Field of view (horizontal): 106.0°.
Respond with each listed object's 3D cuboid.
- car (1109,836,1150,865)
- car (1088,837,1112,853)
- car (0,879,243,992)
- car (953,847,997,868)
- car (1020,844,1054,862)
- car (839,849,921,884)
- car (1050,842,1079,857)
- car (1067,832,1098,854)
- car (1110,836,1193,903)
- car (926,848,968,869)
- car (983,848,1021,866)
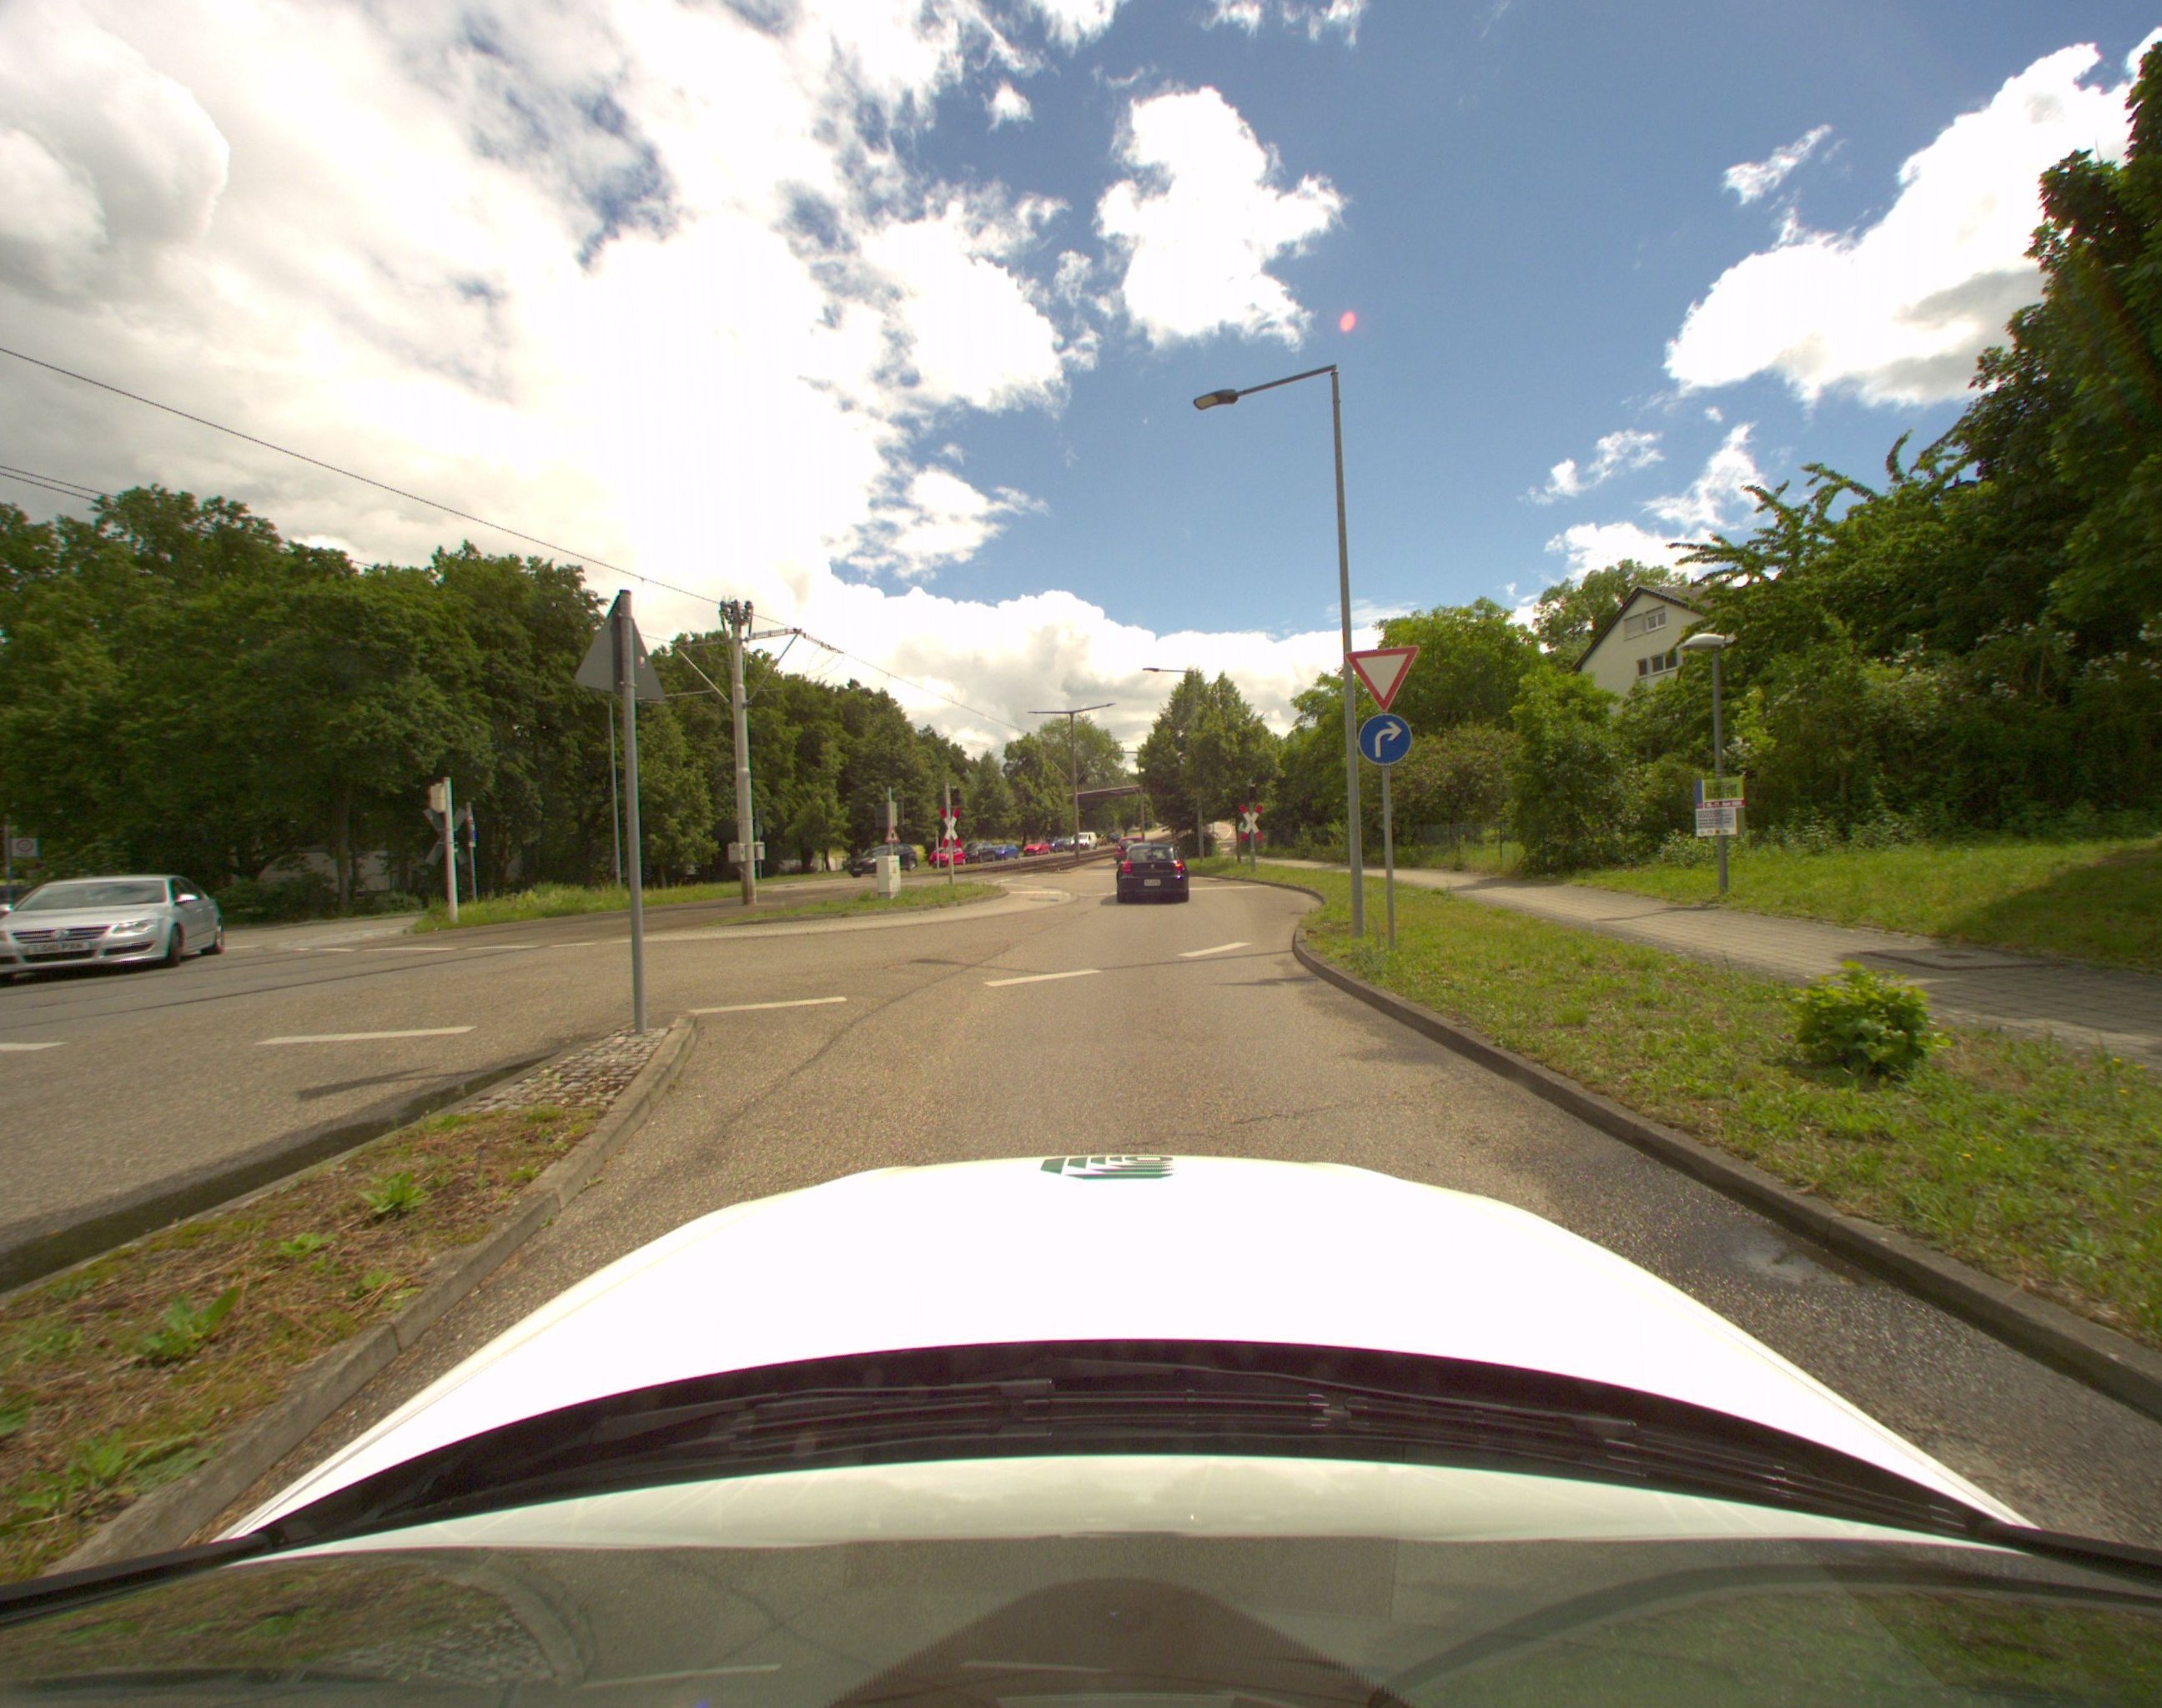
[{"bbox_3d":[2.580,-0.177,44.087,1.761,1.432,3.475,-3,-1,-3],"label":"car"},{"bbox_3d":[2.416,-1.200,102.635,1.978,1.862,4.018,-2,1,17],"label":"car"},{"bbox_3d":[-14.748,1.130,12.491,1.891,1.350,3.789,-4,1,-35],"label":"car"},{"bbox_3d":[-7.930,0.267,61.259,1.864,1.425,3.549,-3,0,19],"label":"car"},{"bbox_3d":[-4.083,-0.126,76.947,1.898,1.561,4.018,-2,1,16],"label":"car"},{"bbox_3d":[-10.516,0.622,42.954,1.977,1.597,4.442,-3,0,20],"label":"car"},{"bbox_3d":[-1.726,-0.462,87.341,1.978,1.473,4.018,-2,1,16],"label":"car"},{"bbox_3d":[0.178,-1.135,81.593,1.978,2.013,4.018,-2,1,16],"label":"car"},{"bbox_3d":[1.736,0.377,20.506,1.807,1.421,4.004,-3,-1,4],"label":"car"},{"bbox_3d":[-9.250,0.293,56.643,1.517,1.370,3.611,-3,0,14],"label":"car"},{"bbox_3d":[-6.407,0.233,66.724,1.792,1.254,3.584,-2,1,17],"label":"car"}]
